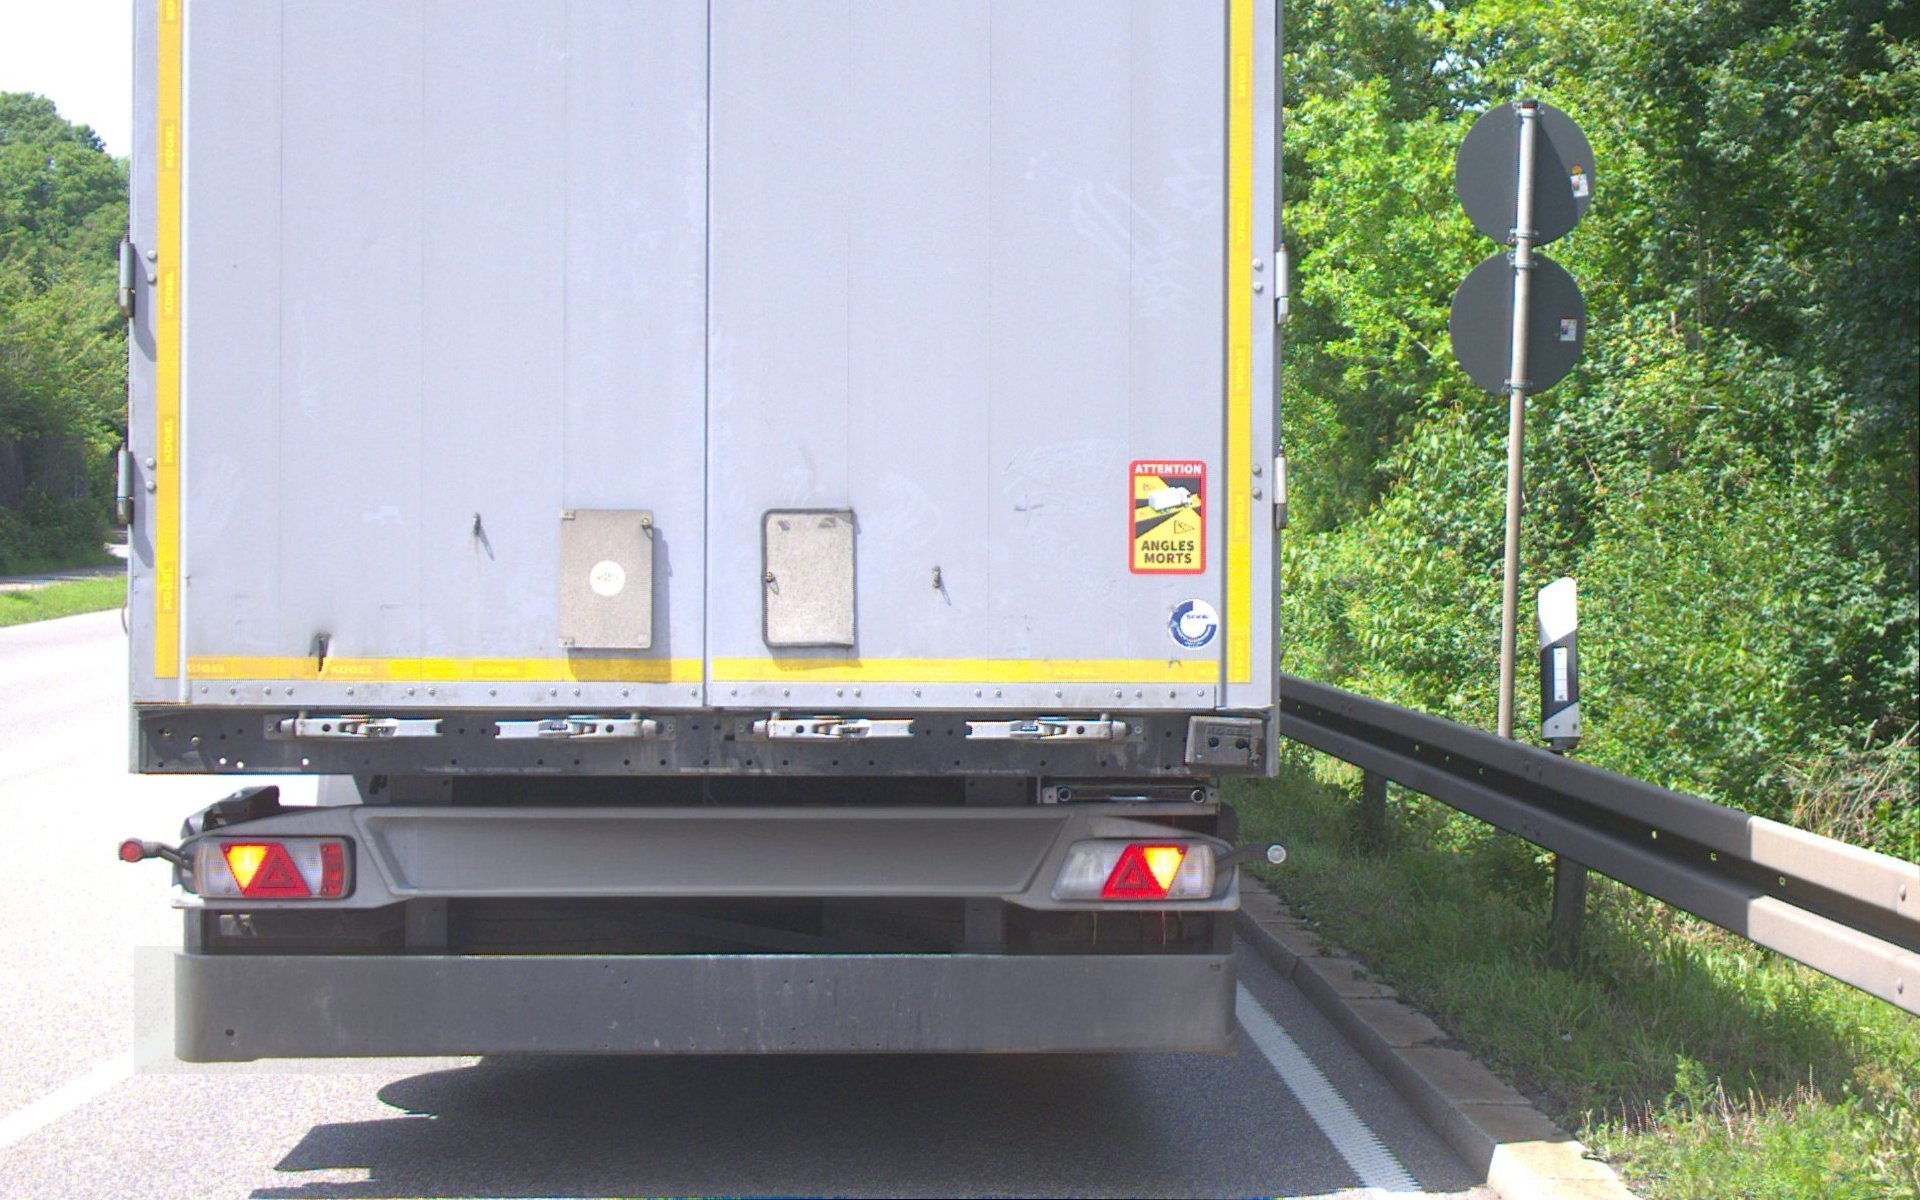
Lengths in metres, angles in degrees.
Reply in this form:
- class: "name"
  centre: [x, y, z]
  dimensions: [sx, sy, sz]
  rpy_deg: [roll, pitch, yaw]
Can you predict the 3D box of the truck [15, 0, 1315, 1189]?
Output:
- class: "truck"
  centre: [-0.763, -0.881, 13.282]
  dimensions: [2.757, 4.016, 11.925]
  rpy_deg: [0, 1, -1]
